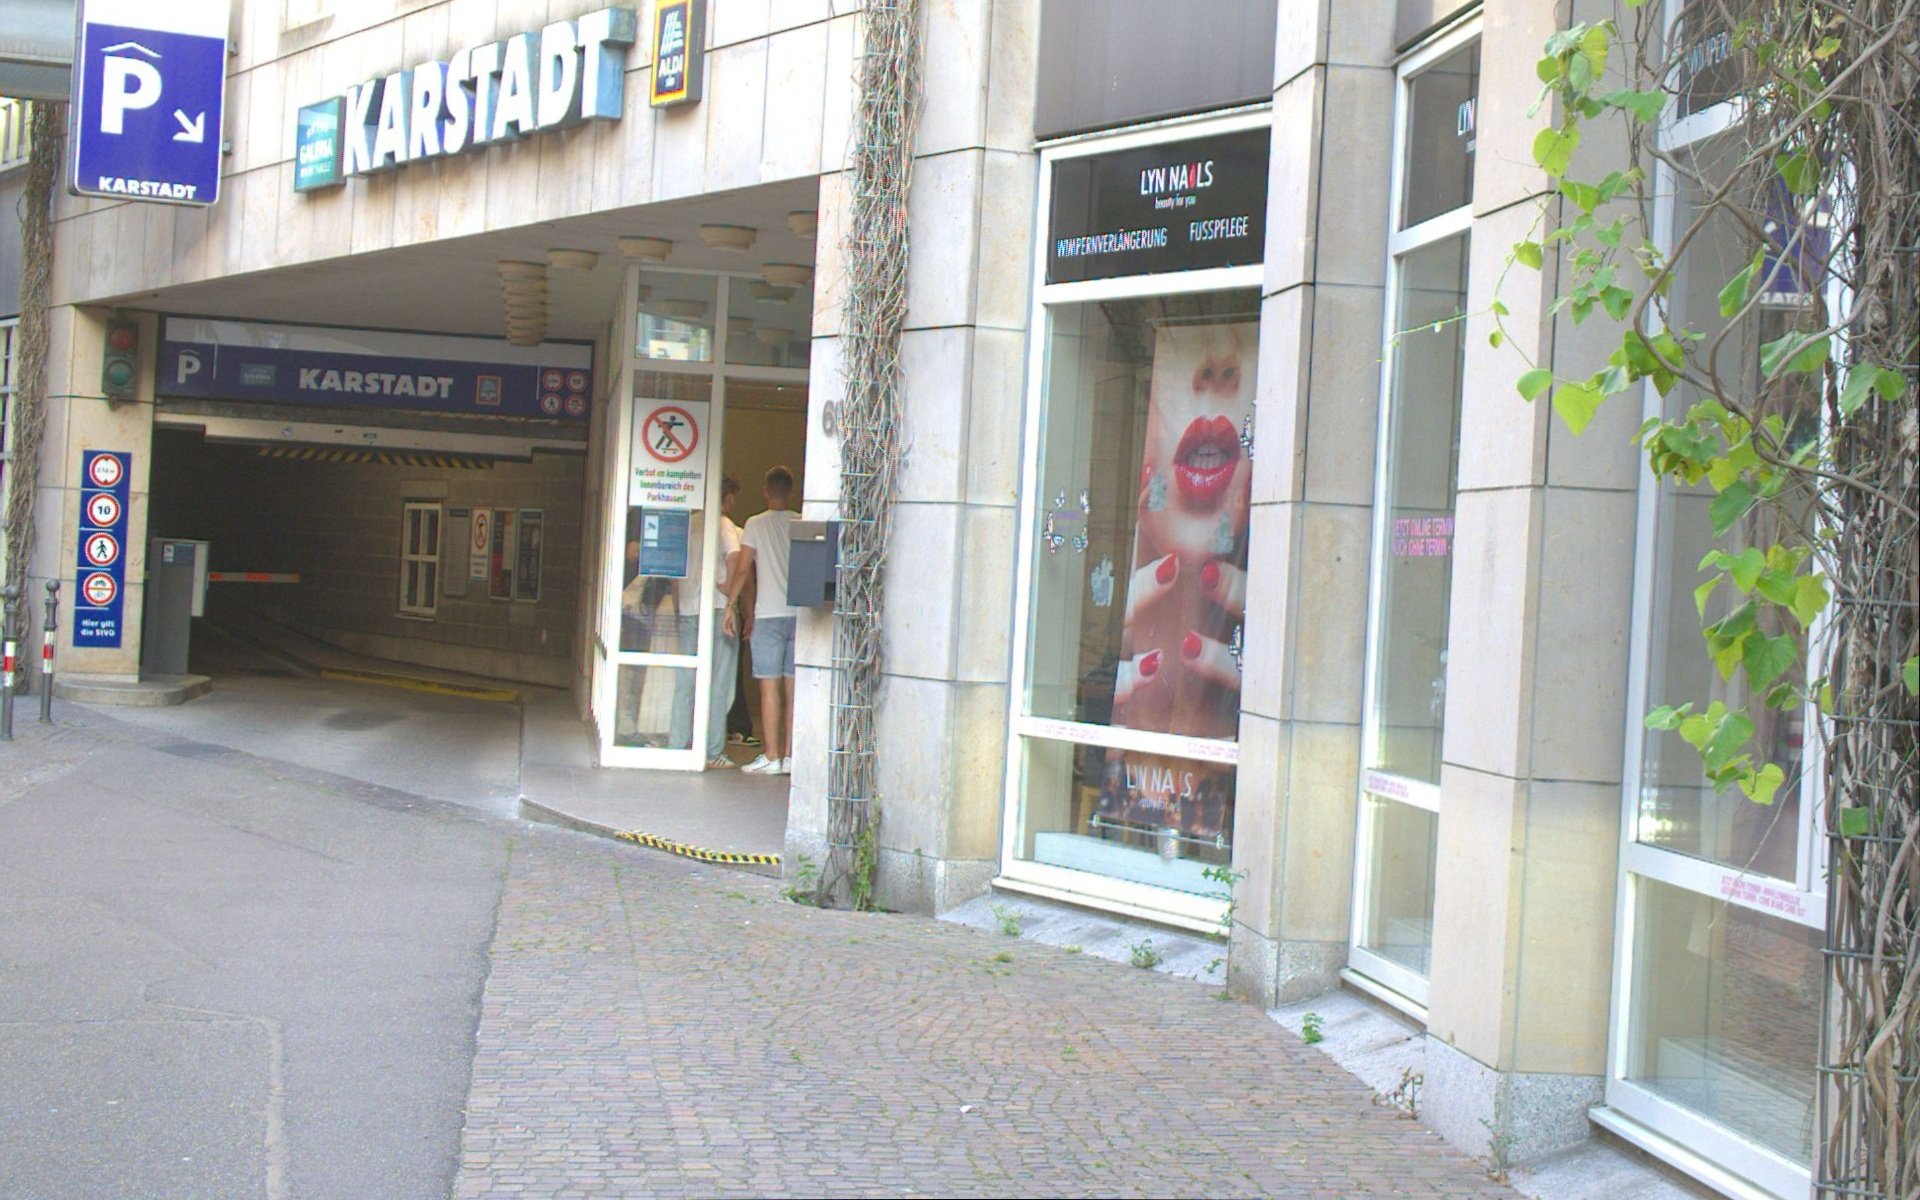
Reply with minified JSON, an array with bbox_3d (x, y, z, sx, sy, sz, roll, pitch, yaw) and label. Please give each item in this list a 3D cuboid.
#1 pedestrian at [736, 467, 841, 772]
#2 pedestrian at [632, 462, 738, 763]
[{"bbox_3d":[-1.065,0.114,21.405,0.542,1.855,0.408,3,1,-1],"label":"pedestrian"},{"bbox_3d":[-1.721,0.074,21.548,0.542,1.840,0.408,3,1,-1],"label":"pedestrian"}]
